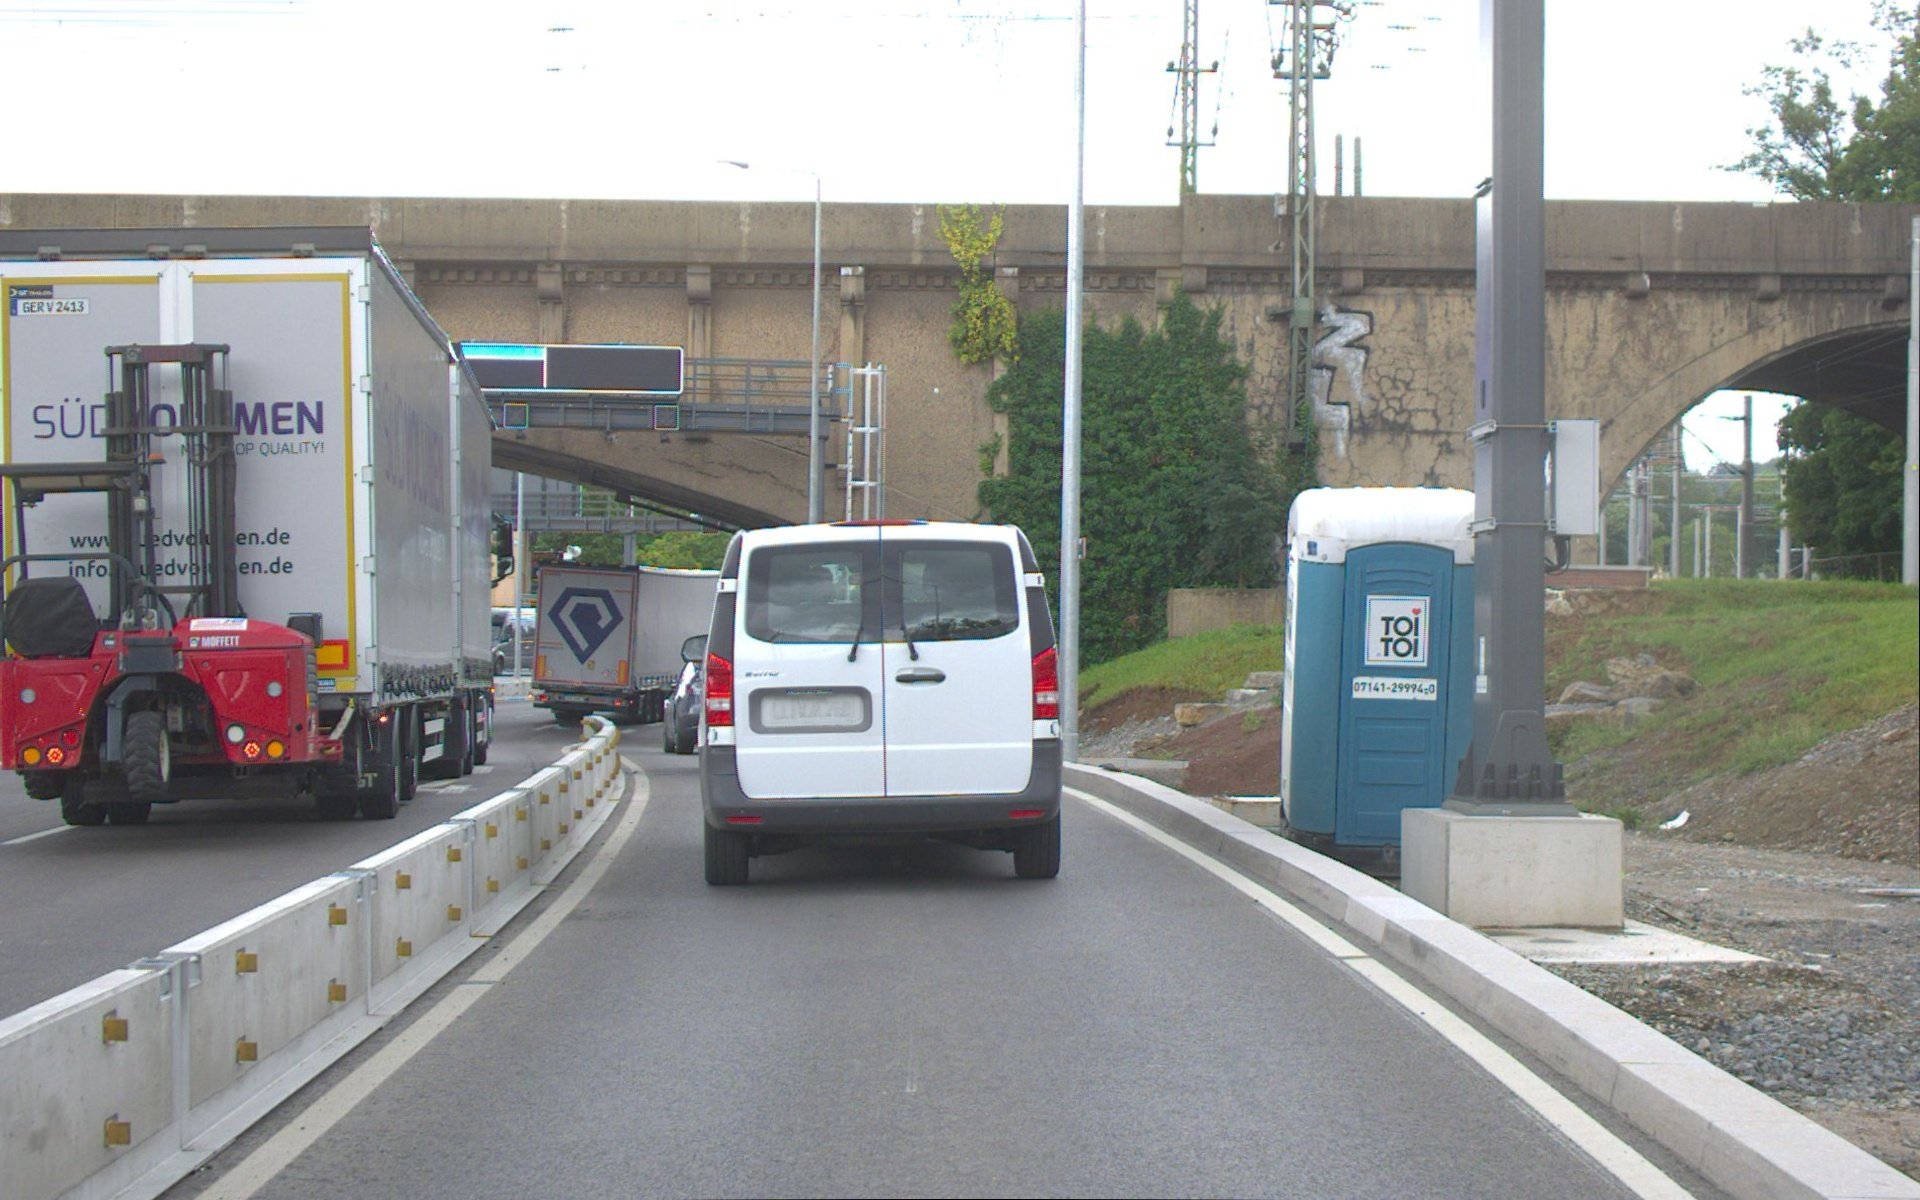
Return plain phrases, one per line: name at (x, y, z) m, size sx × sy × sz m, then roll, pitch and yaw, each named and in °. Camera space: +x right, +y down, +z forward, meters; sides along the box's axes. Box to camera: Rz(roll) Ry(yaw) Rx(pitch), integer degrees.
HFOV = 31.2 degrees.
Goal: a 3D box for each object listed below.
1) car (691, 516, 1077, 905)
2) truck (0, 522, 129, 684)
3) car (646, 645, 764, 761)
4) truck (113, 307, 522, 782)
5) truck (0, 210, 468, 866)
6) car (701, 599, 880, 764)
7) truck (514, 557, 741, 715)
car at (-0.345, 0.524, 19.341) m, size 1.876 × 1.884 × 4.753 m, roll 1°, pitch 0°, yaw 1°
truck at (-25.380, 0.093, 92.022) m, size 2.899 × 4.048 × 13.988 m, roll 0°, pitch 0°, yaw 0°
car at (-3.483, 1.435, 46.819) m, size 1.500 × 1.464 × 3.399 m, roll 1°, pitch -3°, yaw -5°
truck at (-6.441, -0.407, 36.319) m, size 2.987 × 4.162 × 11.241 m, roll 2°, pitch -1°, yaw -5°
truck at (-5.622, -0.420, 26.399) m, size 2.917 × 4.003 × 10.202 m, roll 2°, pitch 0°, yaw -5°
car at (-1.721, 0.825, 35.762) m, size 1.749 × 1.620 × 3.844 m, roll 0°, pitch -1°, yaw -2°
truck at (-8.807, 1.026, 93.952) m, size 3.317 × 3.797 × 16.589 m, roll 2°, pitch -1°, yaw 4°
